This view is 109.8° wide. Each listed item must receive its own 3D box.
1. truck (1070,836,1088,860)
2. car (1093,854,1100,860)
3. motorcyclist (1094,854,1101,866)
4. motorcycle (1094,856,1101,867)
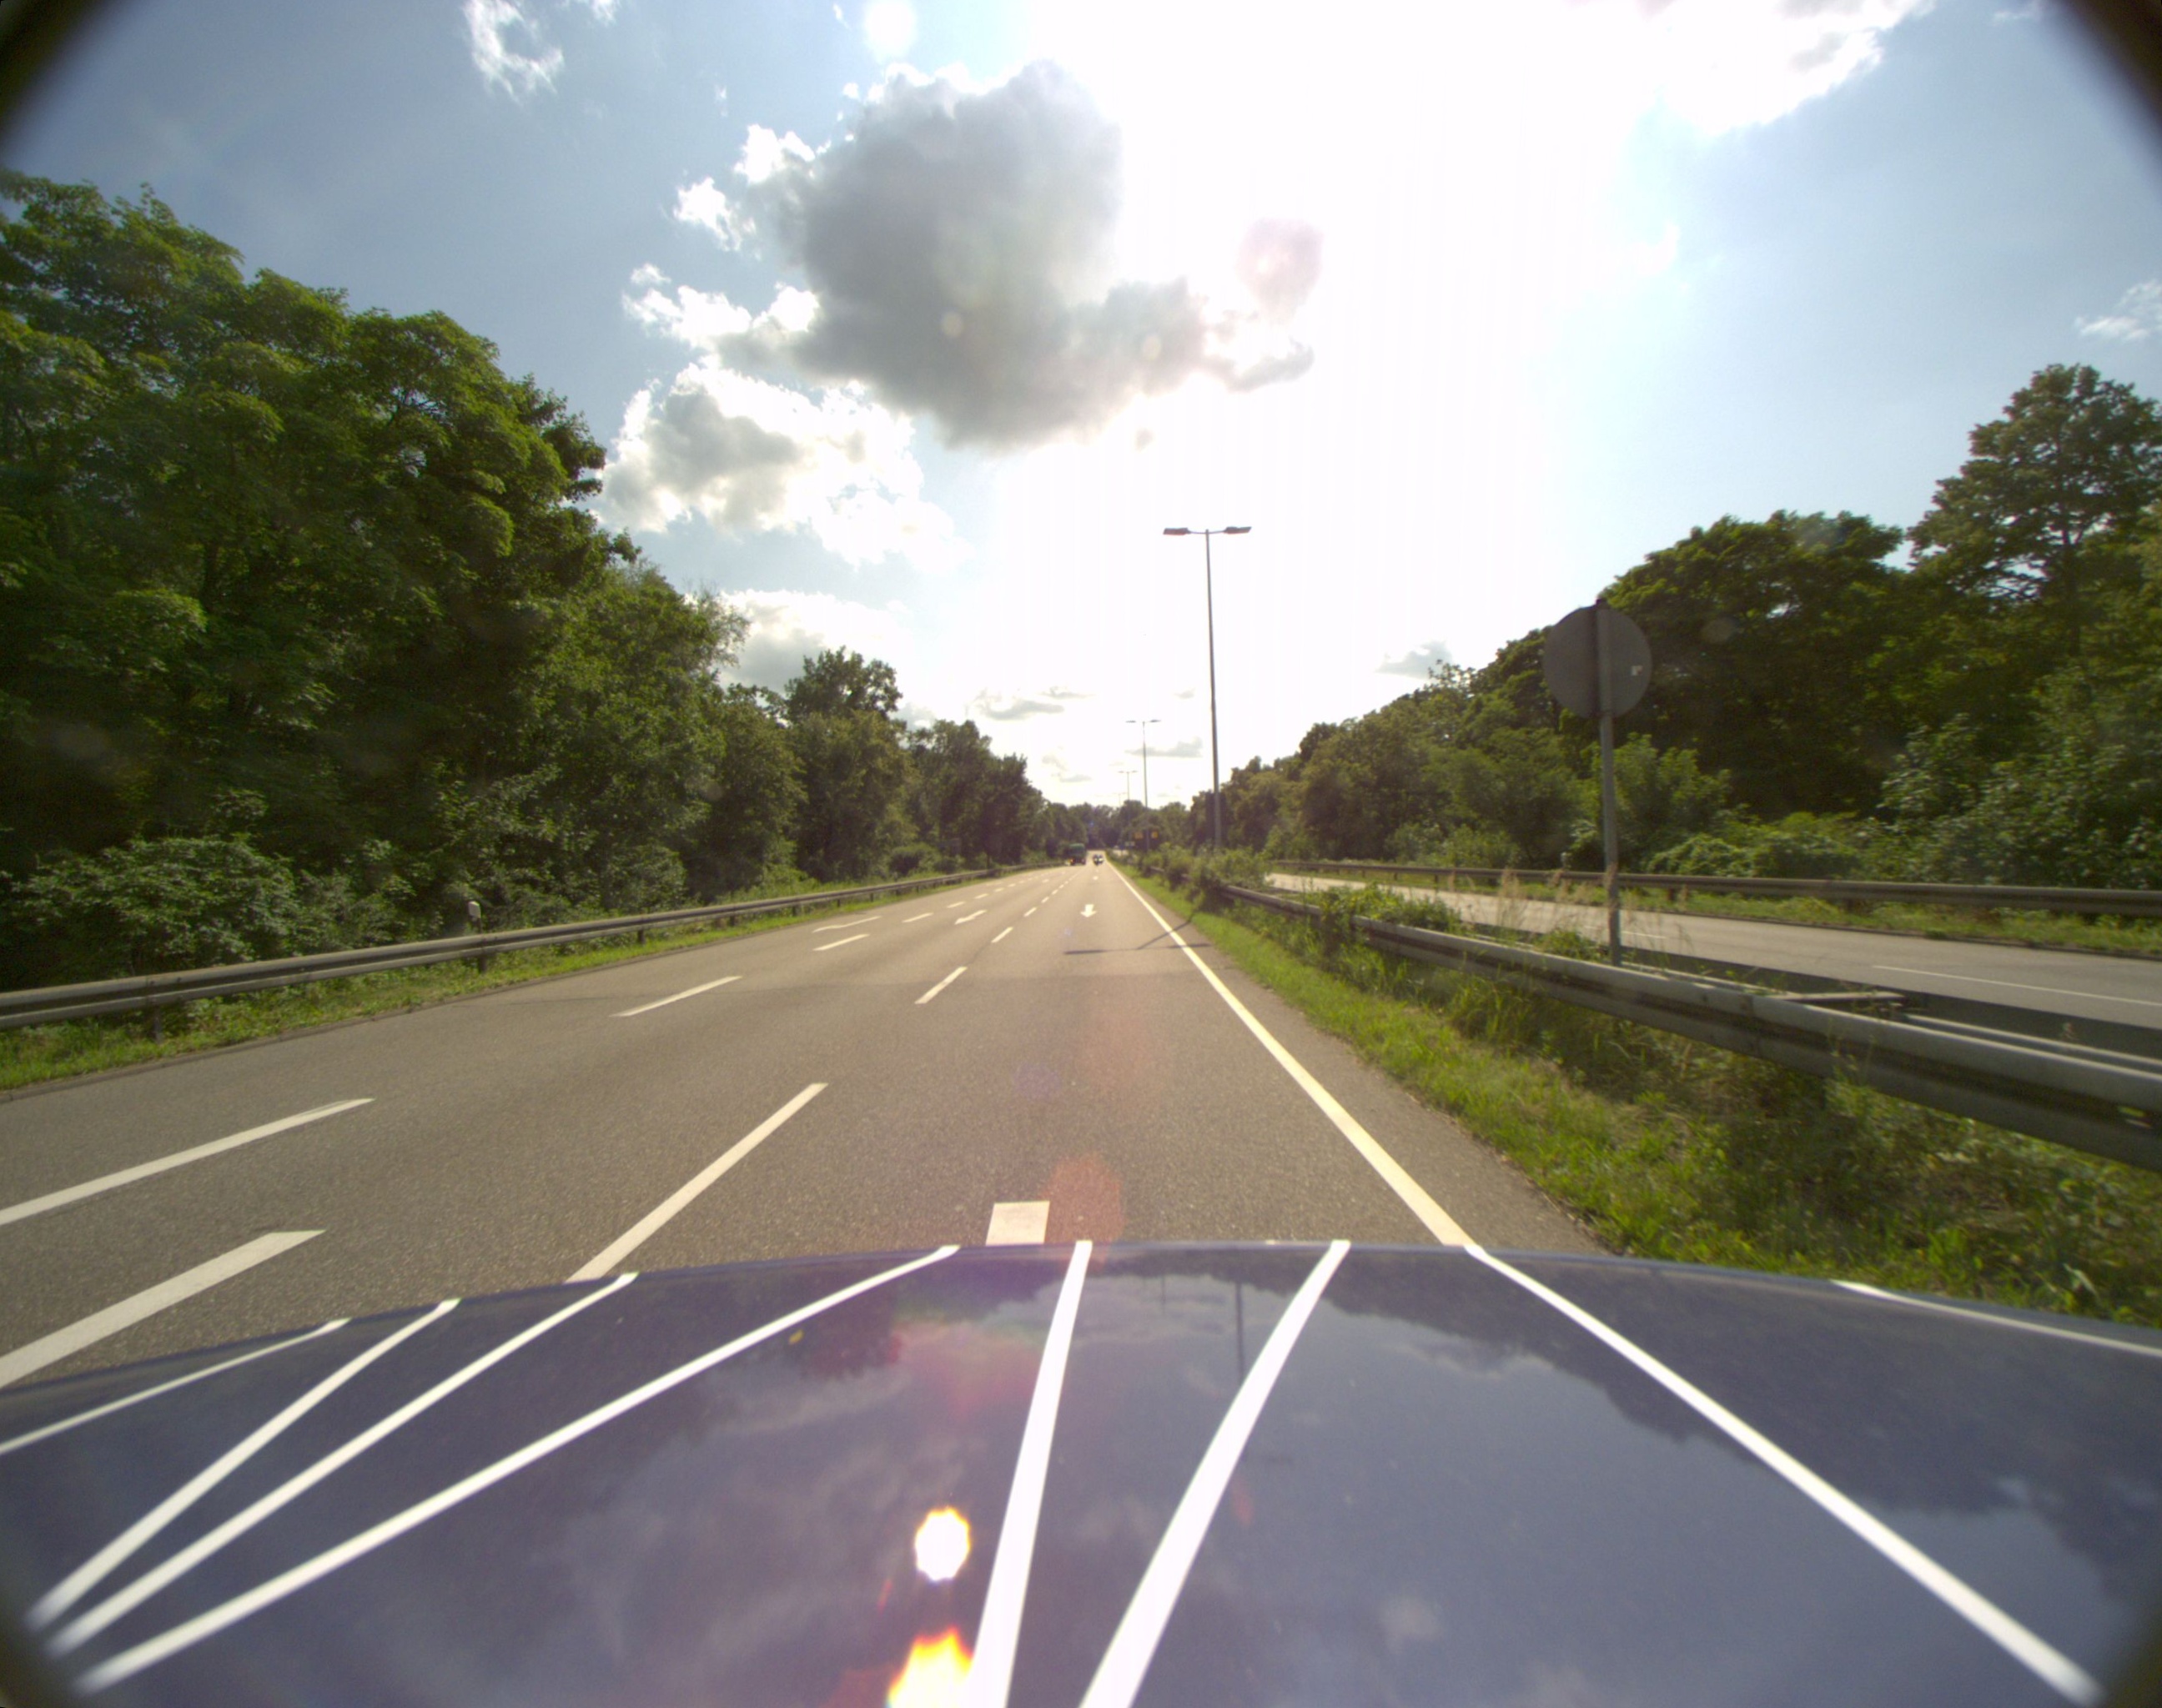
[{"bbox_3d":[-0.258,-0.963,127.444,2.591,3.870,6.062,-3,0,2],"label":"truck"},{"bbox_3d":[3.987,0.840,194.877,1.735,1.467,4.047,-2,0,2],"label":"car"},{"bbox_3d":[2.247,0.826,105.280,0.939,1.581,1.083,-1,0,2],"label":"motorcyclist"},{"bbox_3d":[2.257,1.030,105.298,0.939,1.375,2.370,-1,0,2],"label":"motorcycle"}]
